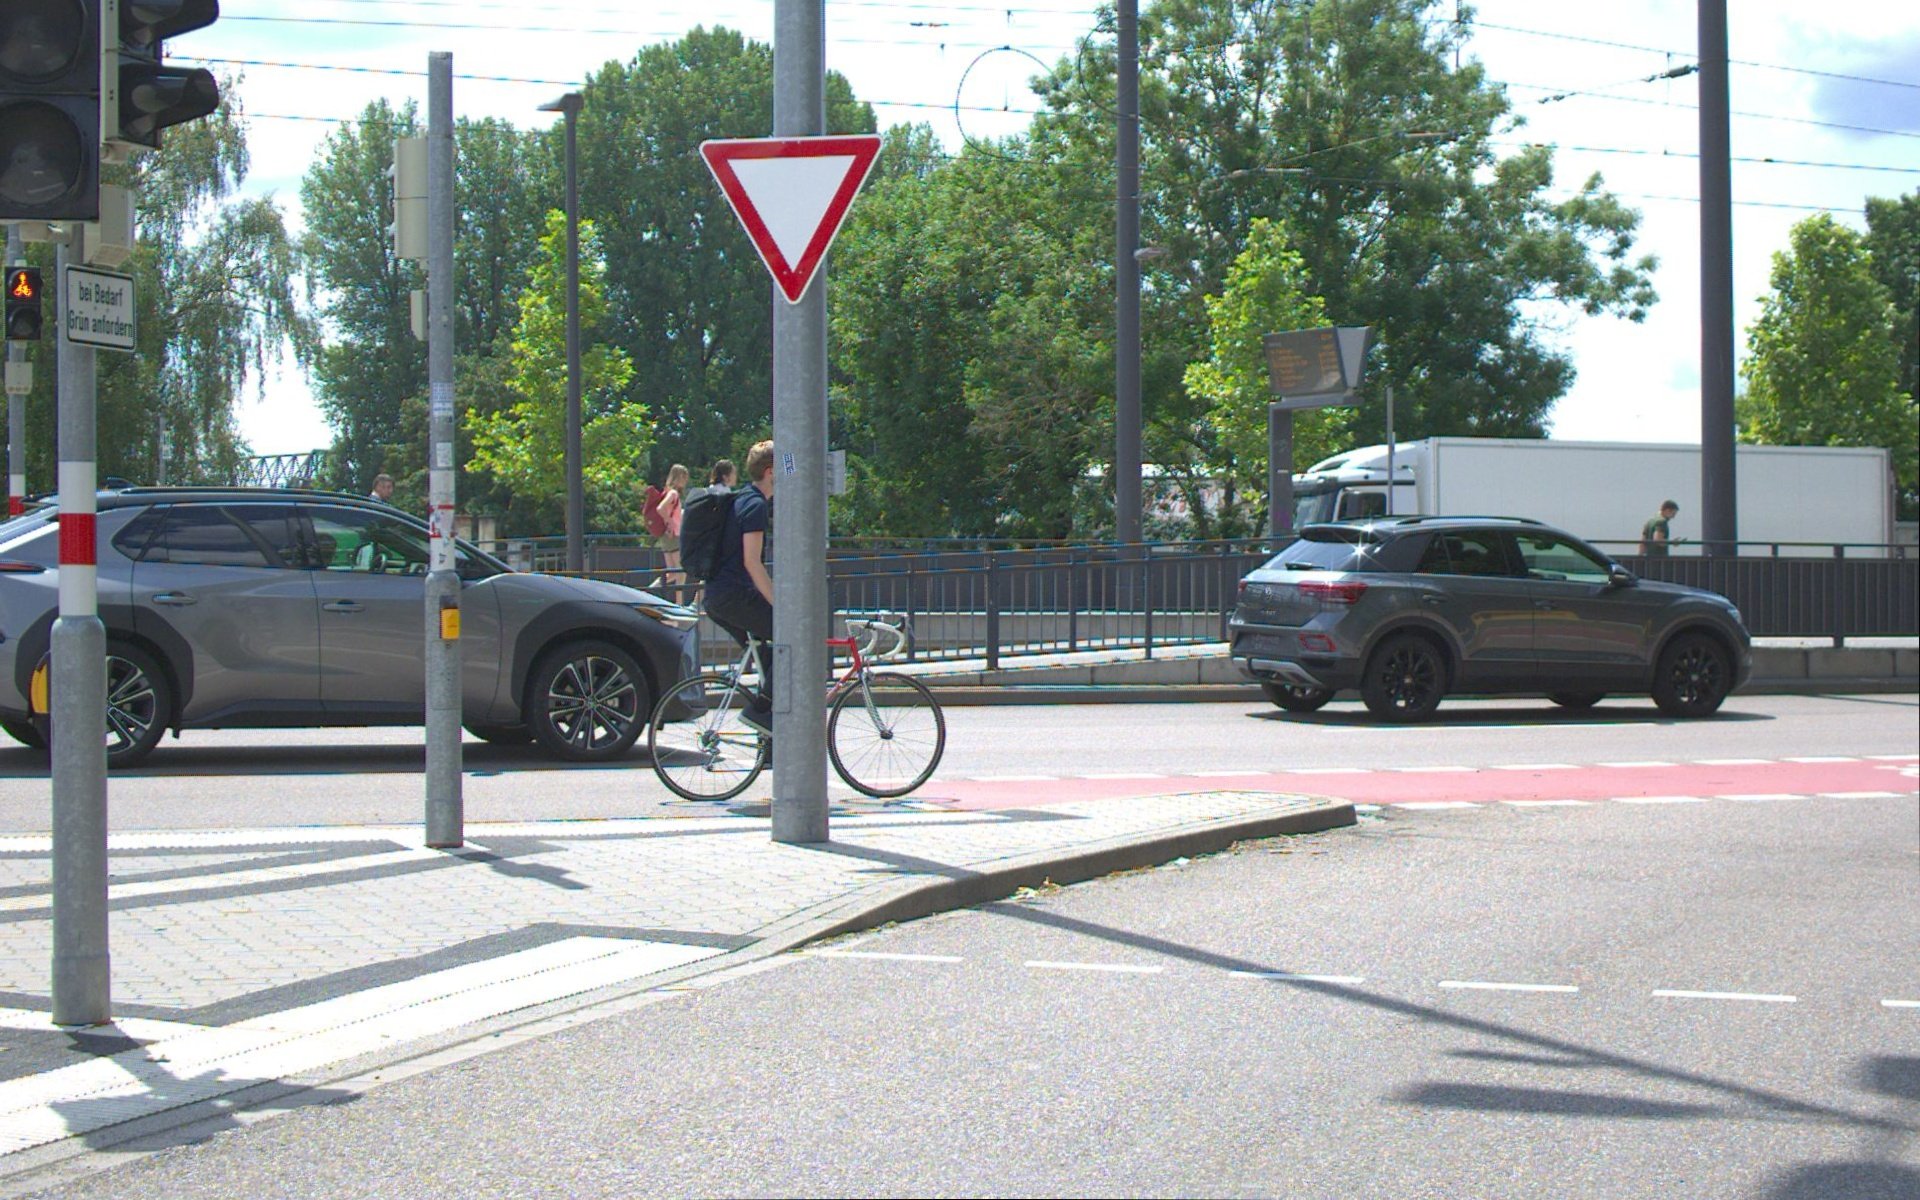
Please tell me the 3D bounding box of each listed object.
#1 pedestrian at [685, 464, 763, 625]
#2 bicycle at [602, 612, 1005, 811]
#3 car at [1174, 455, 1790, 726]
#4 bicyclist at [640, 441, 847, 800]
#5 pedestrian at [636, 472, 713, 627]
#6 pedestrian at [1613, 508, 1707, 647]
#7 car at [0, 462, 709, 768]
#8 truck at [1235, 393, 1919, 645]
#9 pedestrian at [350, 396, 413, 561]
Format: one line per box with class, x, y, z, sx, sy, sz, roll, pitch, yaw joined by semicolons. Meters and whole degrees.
pedestrian;-2.590;-0.610;37.745;0.675;1.742;0.637;0;2;-20
bicycle;-0.821;0.586;18.188;2.016;0.996;0.622;1;1;-23
car;4.085;-0.101;26.942;4.347;1.982;2.001;0;2;-23
bicyclist;-1.140;0.099;18.044;0.920;1.840;0.611;0;1;-23
pedestrian;-3.191;-0.573;38.465;0.706;1.715;0.601;-1;1;-20
pedestrian;9.163;-0.303;45.018;0.926;1.801;0.736;0;1;-23
car;-3.945;0.081;20.400;4.504;1.669;1.904;0;1;-25
truck;10.782;-1.345;59.155;11.954;4.090;2.953;0;1;-21
pedestrian;-6.082;-1.271;36.121;0.522;1.715;0.730;-1;1;-19
